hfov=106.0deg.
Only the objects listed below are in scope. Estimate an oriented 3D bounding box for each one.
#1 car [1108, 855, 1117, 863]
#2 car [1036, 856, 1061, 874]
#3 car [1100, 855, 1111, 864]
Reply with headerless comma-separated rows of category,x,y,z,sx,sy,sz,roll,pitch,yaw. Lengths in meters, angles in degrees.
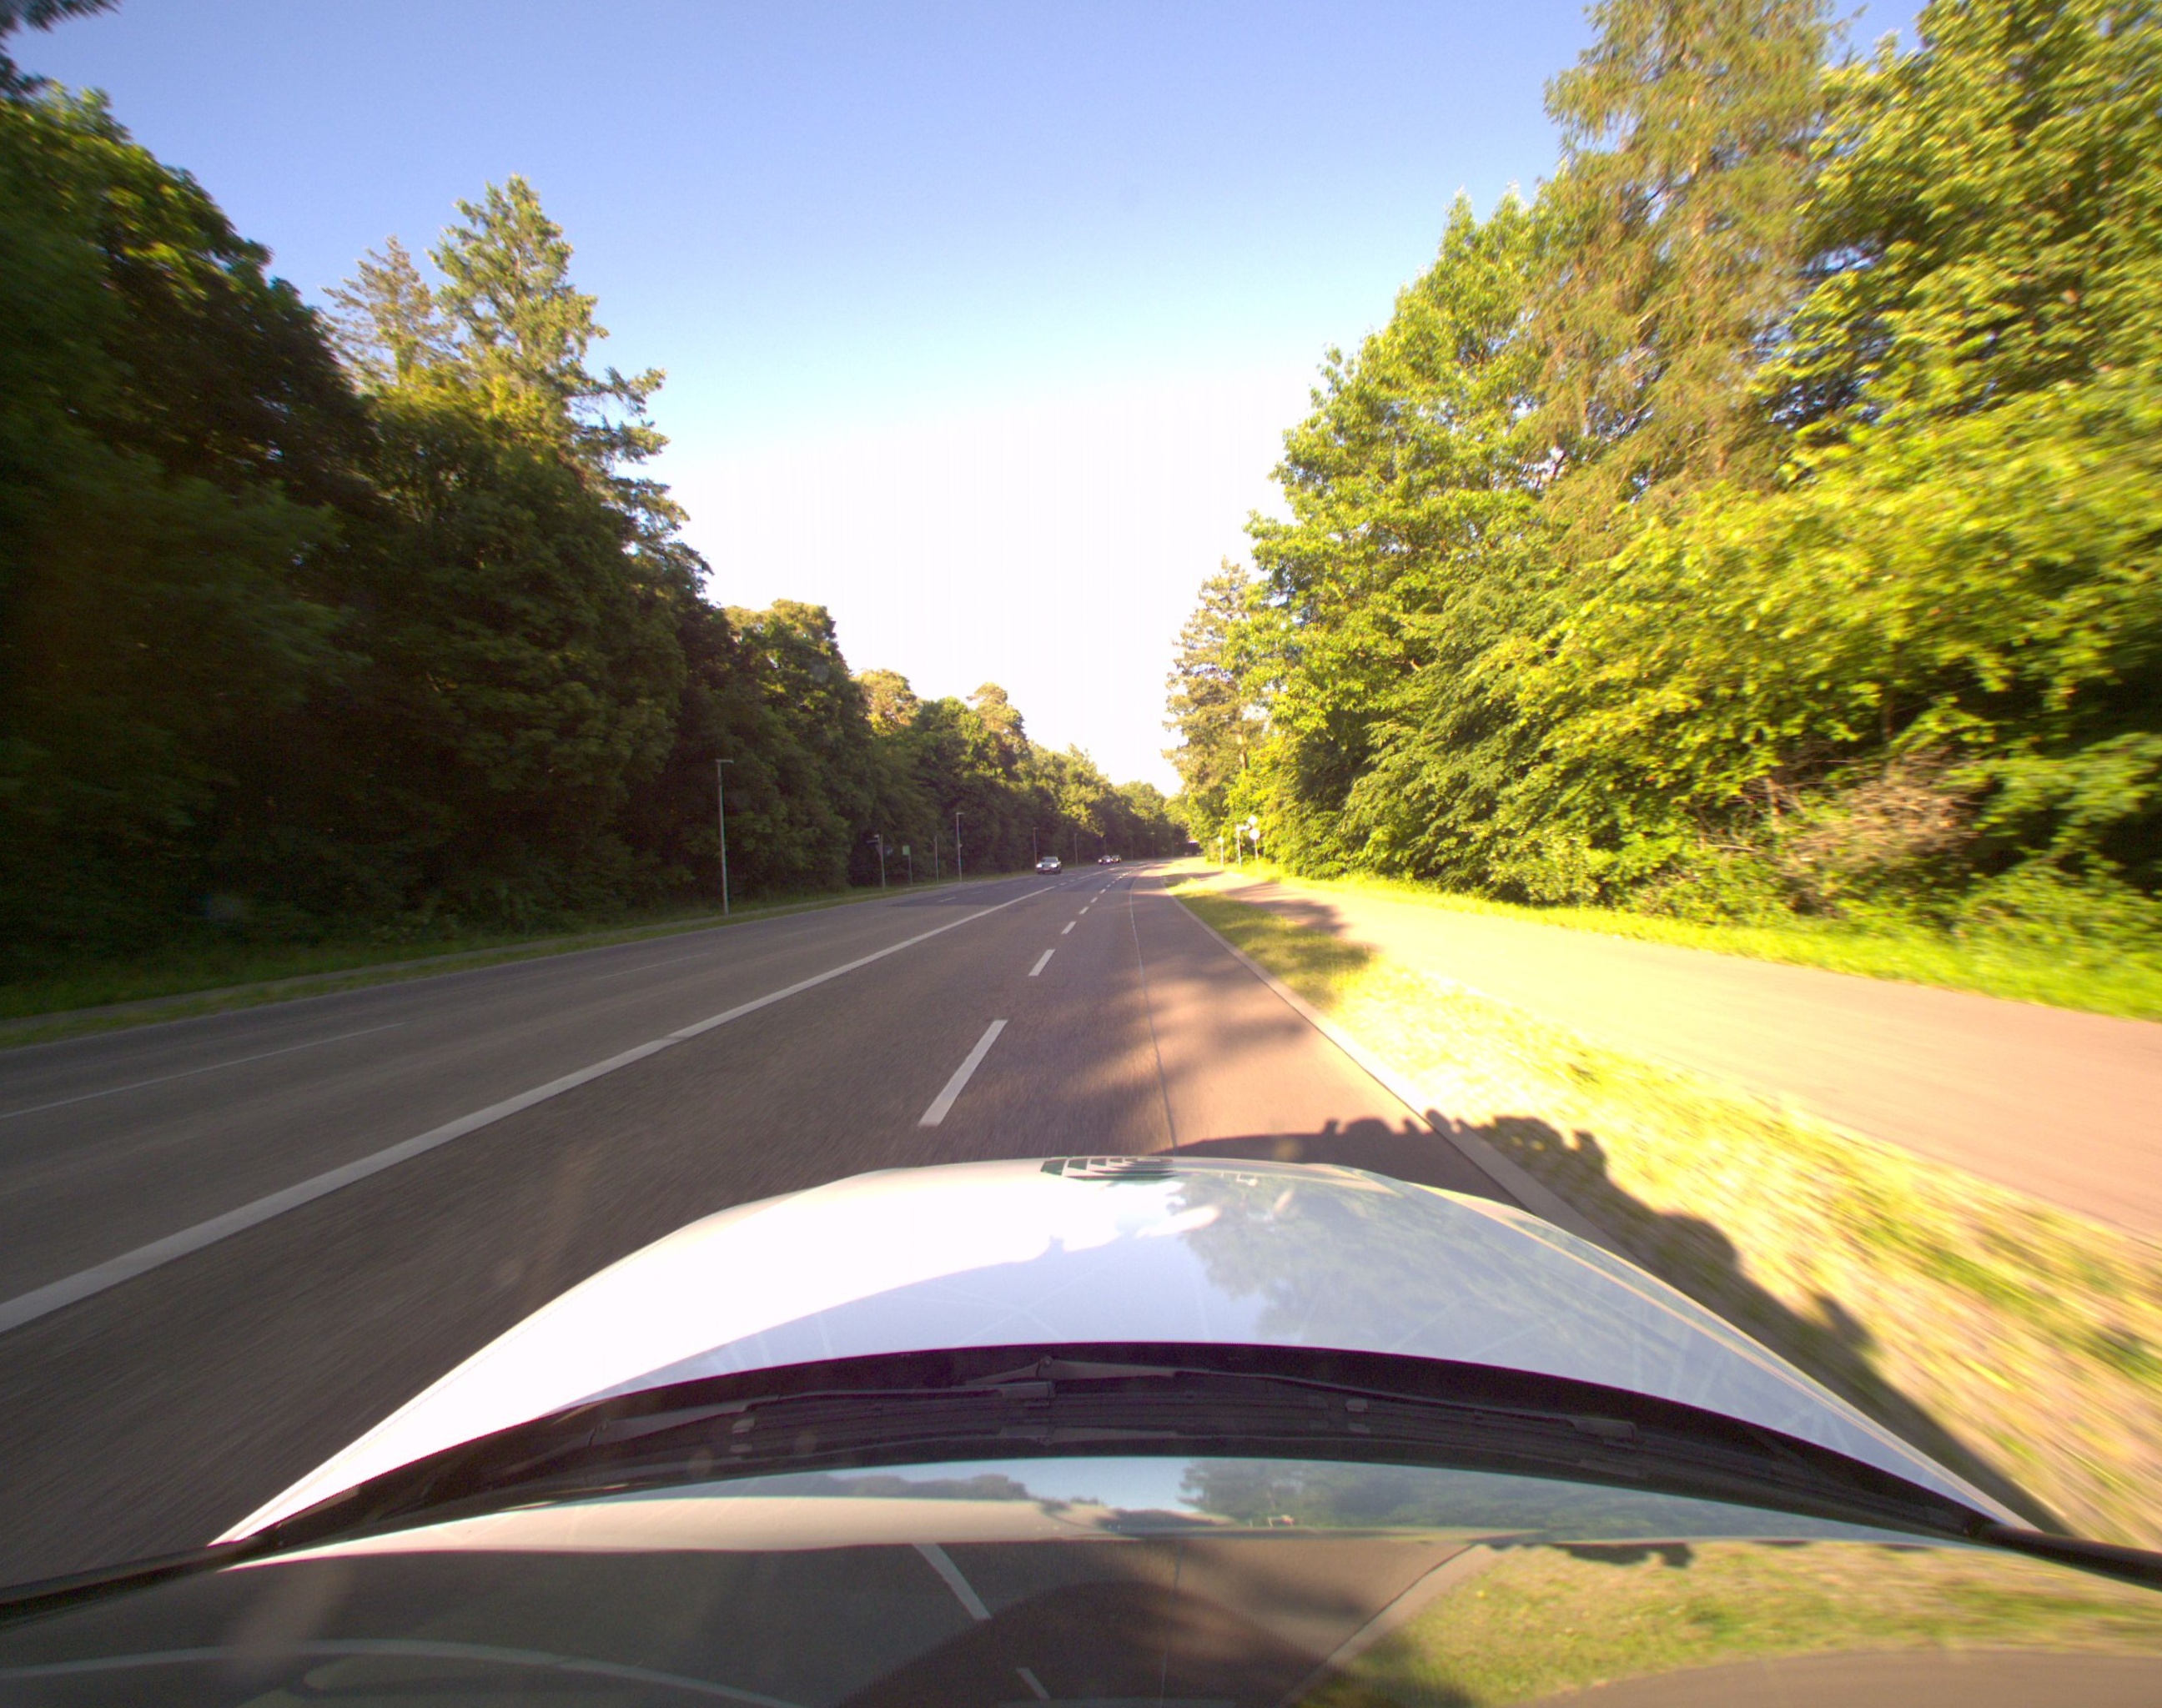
car,5.864,0.928,150.809,1.650,1.480,4.176,-2,0,4
car,-2.999,1.047,76.856,1.887,1.610,4.453,0,0,4
car,3.972,0.928,131.445,1.731,1.457,4.003,0,0,4
